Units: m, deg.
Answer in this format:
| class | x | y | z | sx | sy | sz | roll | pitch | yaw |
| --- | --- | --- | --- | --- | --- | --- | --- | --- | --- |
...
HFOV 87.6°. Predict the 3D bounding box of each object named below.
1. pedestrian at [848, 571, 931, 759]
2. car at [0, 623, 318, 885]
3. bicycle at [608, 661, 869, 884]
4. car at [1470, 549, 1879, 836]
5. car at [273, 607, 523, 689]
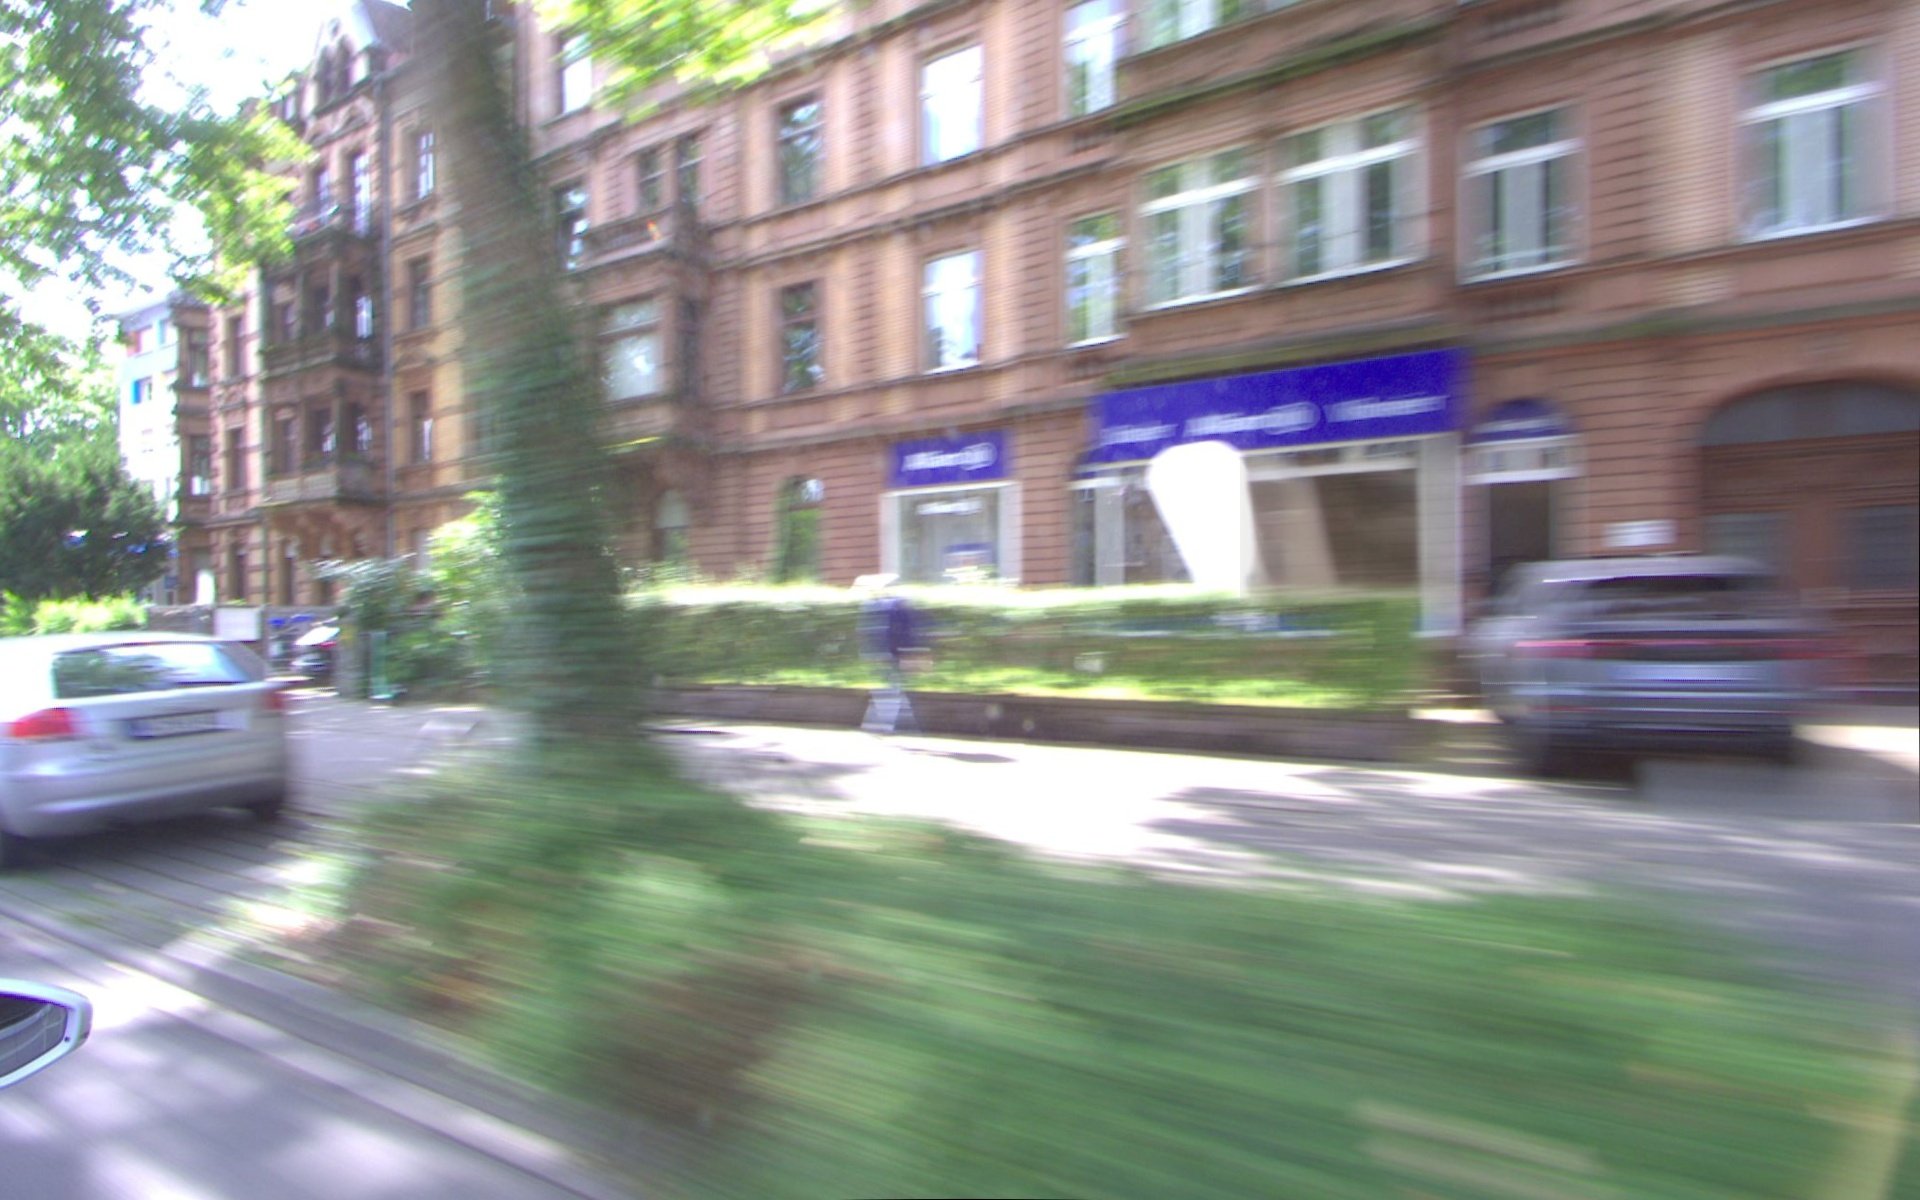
| class | x | y | z | sx | sy | sz | roll | pitch | yaw |
| --- | --- | --- | --- | --- | --- | --- | --- | --- | --- |
| pedestrian | -0.701 | 0.630 | 10.000 | 0.621 | 1.809 | 0.563 | 0 | 0 | 32 |
| car | -6.595 | 0.911 | 7.369 | 3.802 | 1.463 | 1.675 | -1 | -1 | 32 |
| bicycle | -1.199 | 0.866 | 5.396 | 1.303 | 1.033 | 0.579 | -1 | 0 | 27 |
| car | 5.769 | 0.513 | 8.827 | 1.972 | 1.807 | 4.719 | -1 | 2 | 24 |
| car | -11.735 | 0.933 | 21.204 | 1.914 | 1.489 | 4.225 | -1 | 0 | 32 |
